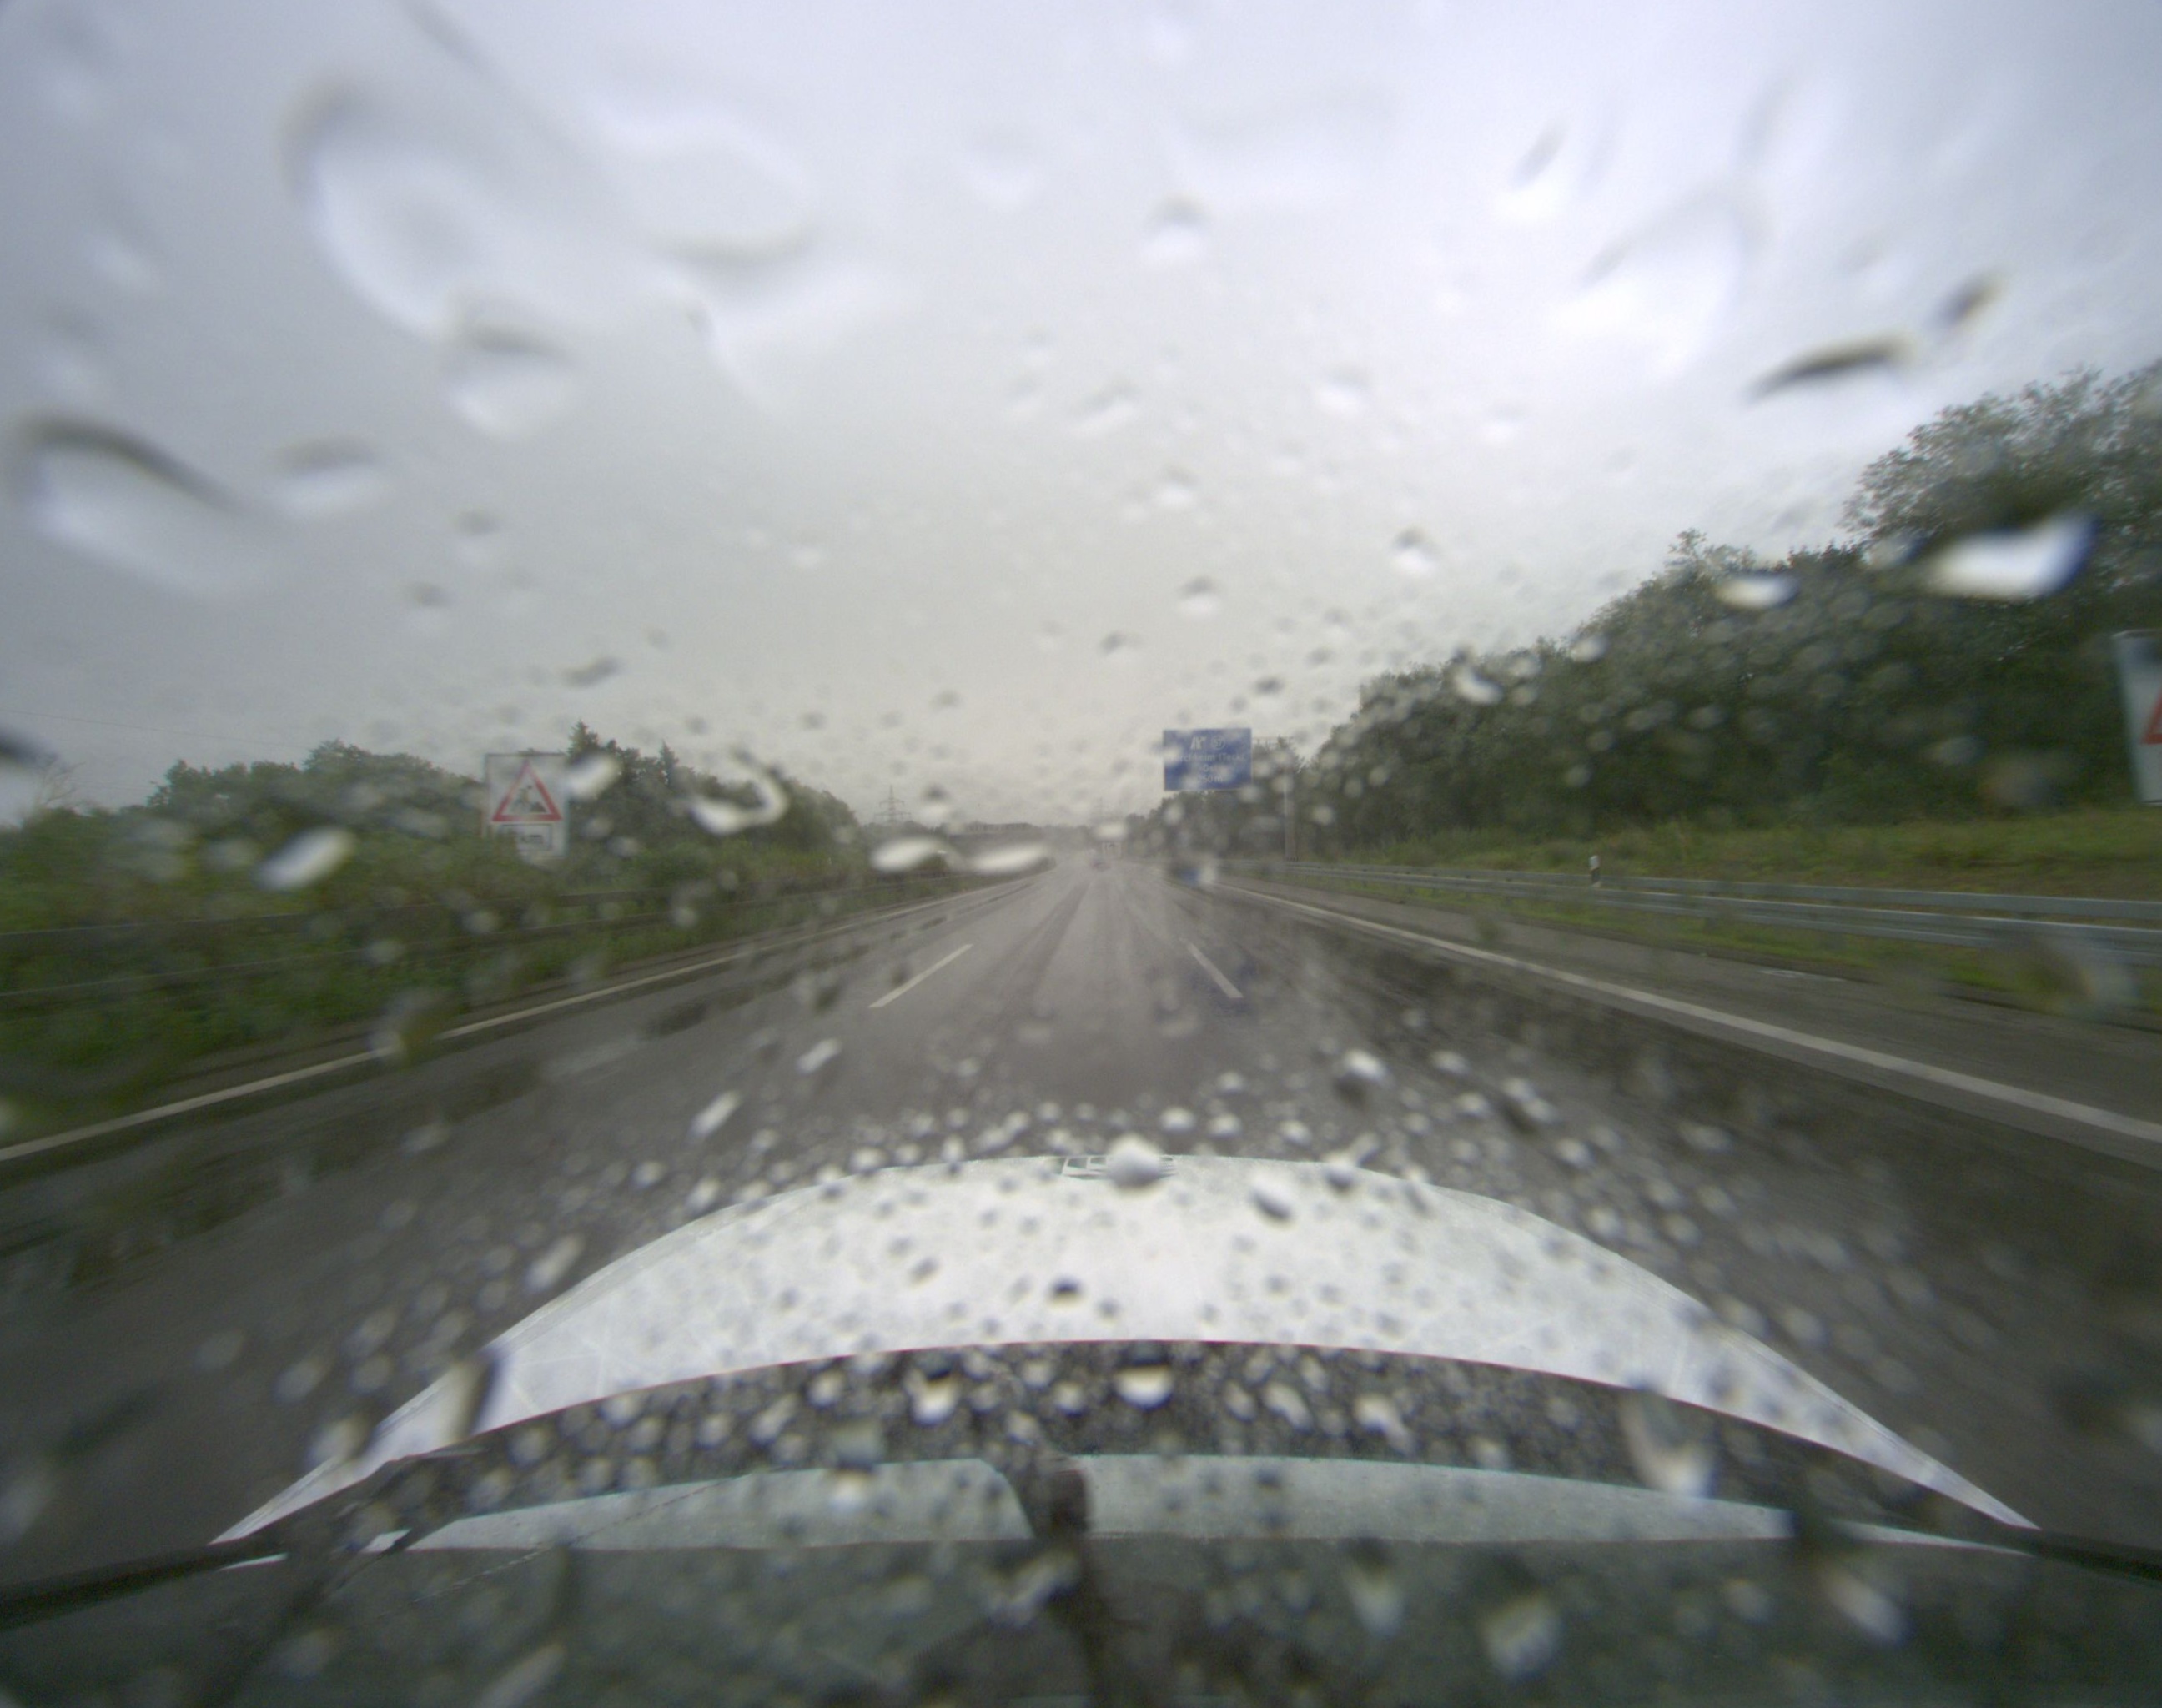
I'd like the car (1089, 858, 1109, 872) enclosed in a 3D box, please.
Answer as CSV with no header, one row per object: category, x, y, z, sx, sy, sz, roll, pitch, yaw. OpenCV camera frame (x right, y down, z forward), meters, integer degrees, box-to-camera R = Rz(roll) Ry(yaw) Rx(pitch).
car,1.602,0.979,71.952,1.742,1.212,4.001,0,0,1

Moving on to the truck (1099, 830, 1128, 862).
truck,5.504,-1.412,142.195,4.243,4.971,17.339,-4,0,0
